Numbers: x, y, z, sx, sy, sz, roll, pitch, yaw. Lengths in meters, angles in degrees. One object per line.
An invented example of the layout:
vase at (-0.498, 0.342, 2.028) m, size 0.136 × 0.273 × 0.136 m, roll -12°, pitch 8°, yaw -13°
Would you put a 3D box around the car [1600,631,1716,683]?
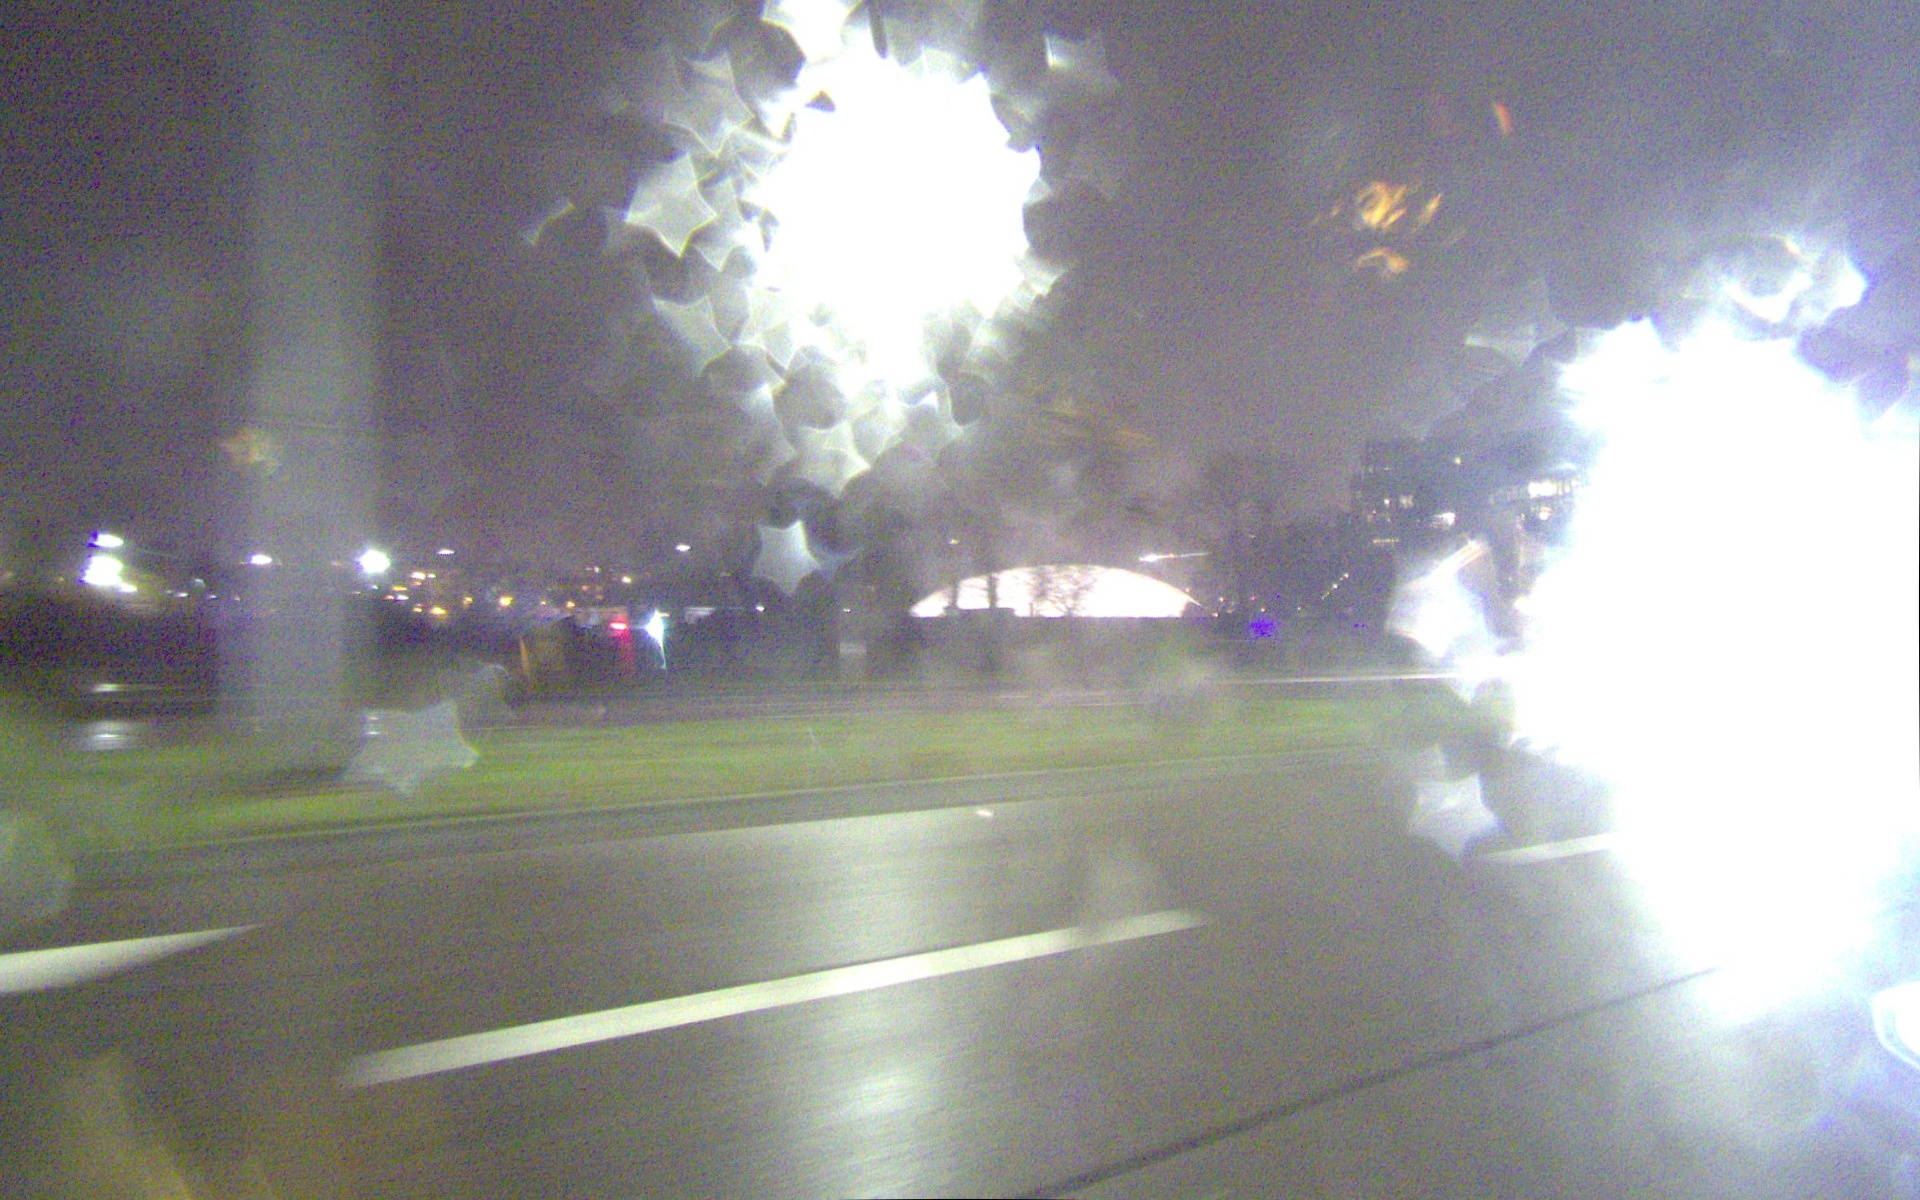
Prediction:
car at (25.521, 2.021, 36.705) m, size 4.388 × 1.736 × 1.820 m, roll 1°, pitch 0°, yaw -30°
